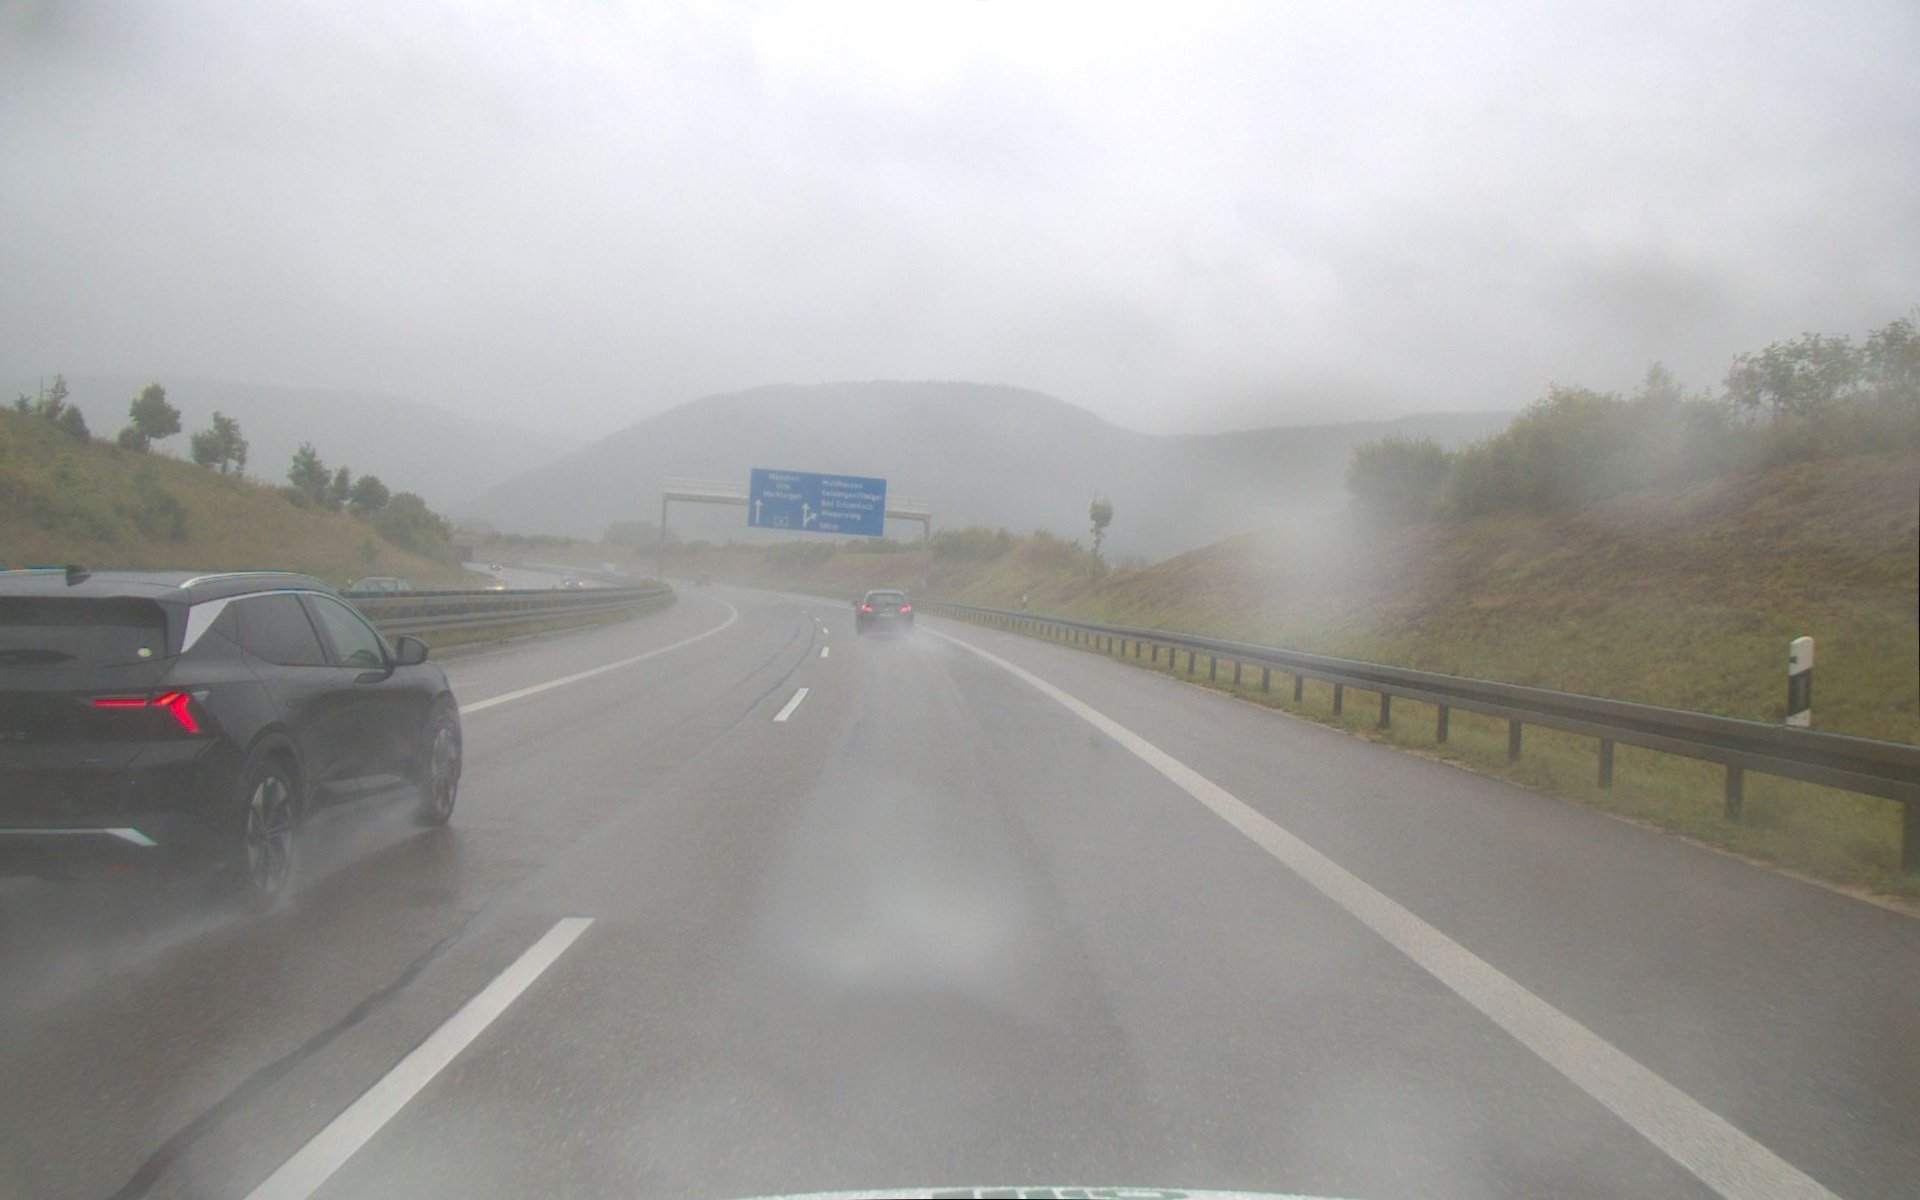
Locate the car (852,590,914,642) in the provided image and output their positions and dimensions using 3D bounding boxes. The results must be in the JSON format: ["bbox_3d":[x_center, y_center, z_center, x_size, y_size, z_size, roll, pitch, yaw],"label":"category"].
[{"bbox_3d":[-2.461,0.470,52.118,1.647,1.498,3.809,2,0,-6],"label":"car"}]

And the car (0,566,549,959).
[{"bbox_3d":[-3.997,0.628,9.025,2.357,1.542,4.783,2,0,-1],"label":"car"}]
